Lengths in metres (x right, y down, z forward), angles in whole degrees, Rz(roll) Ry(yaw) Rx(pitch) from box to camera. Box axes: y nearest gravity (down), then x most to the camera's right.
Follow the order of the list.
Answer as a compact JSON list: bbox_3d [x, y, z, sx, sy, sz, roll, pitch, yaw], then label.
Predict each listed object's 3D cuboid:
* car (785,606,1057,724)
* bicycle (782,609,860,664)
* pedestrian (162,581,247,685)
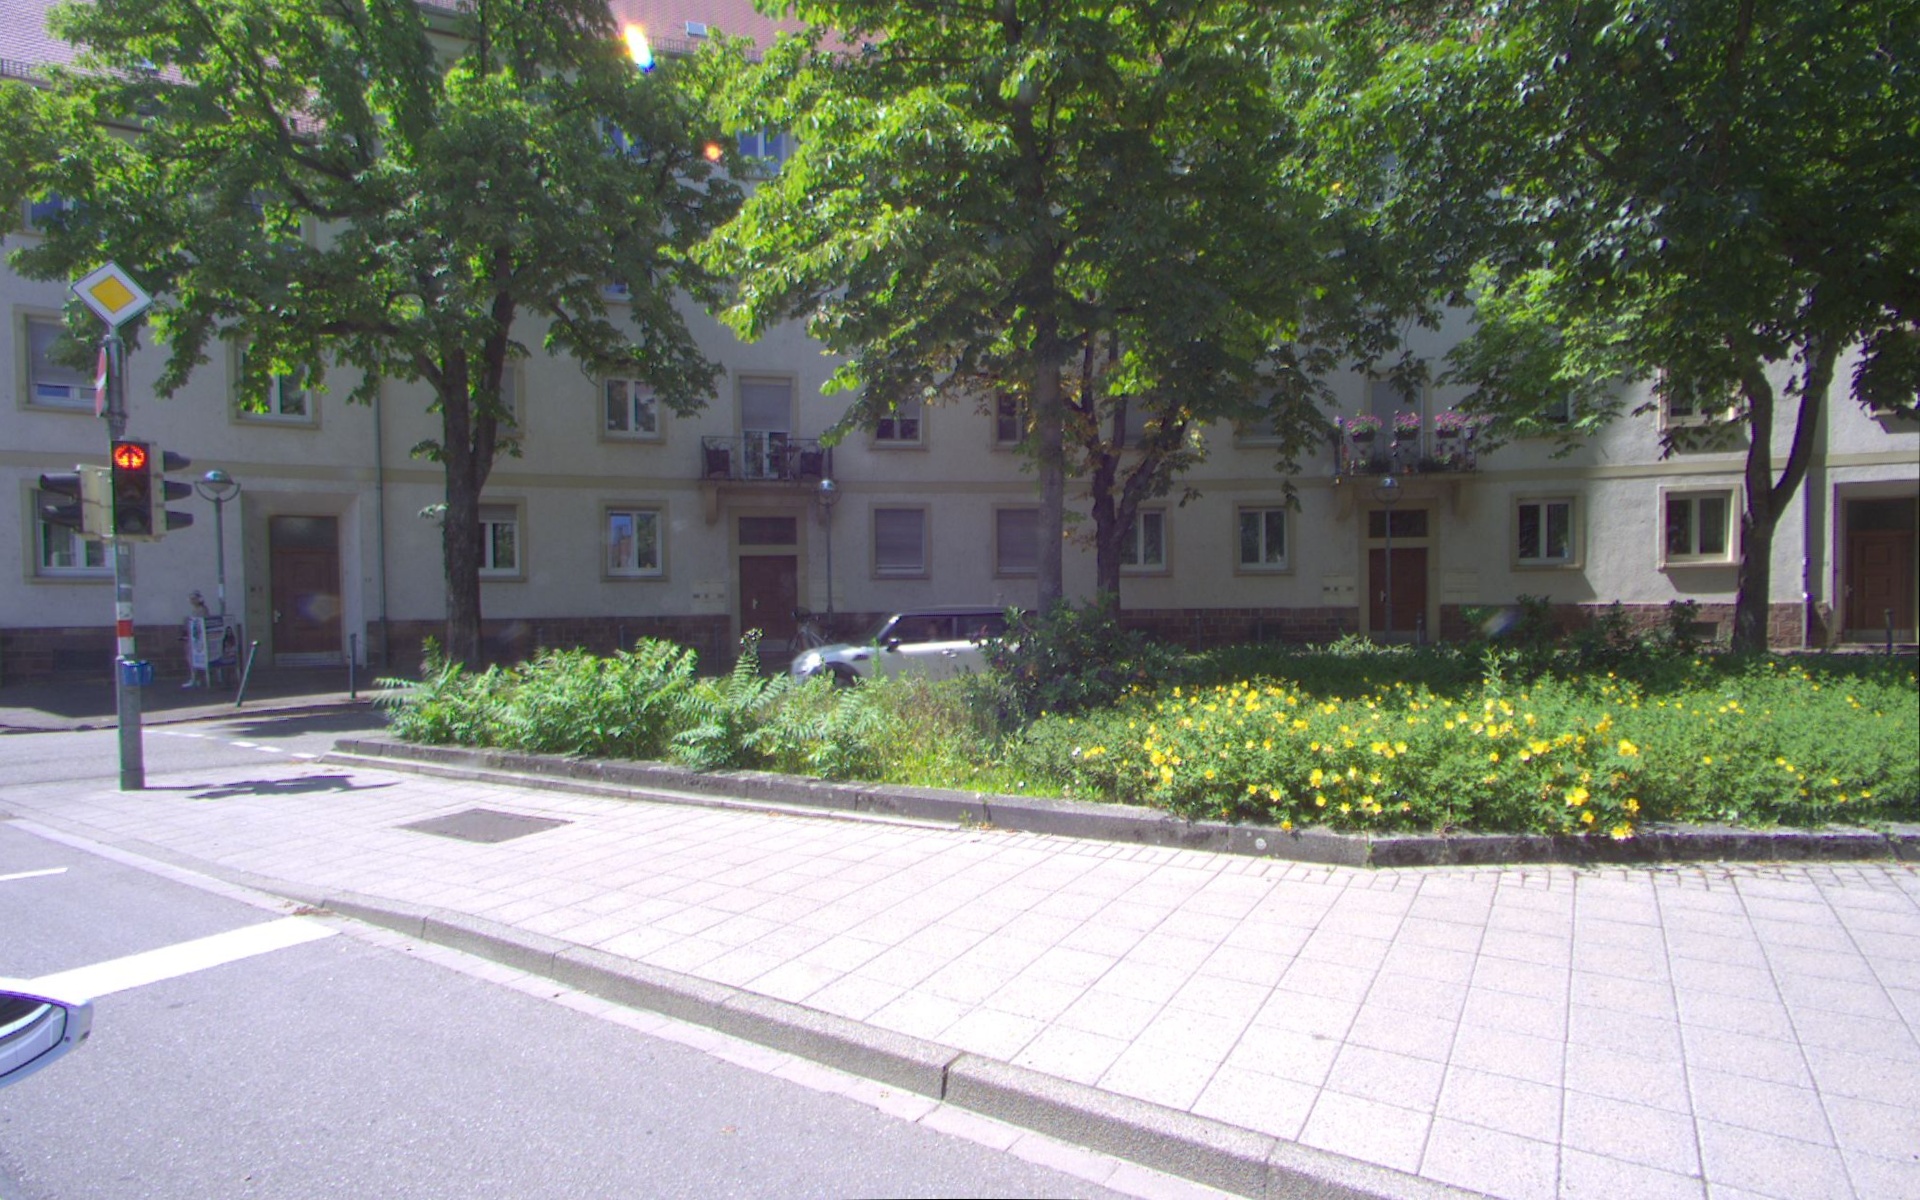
[{"bbox_3d":[-0.587,0.859,14.059,3.582,1.526,1.705,0,0,-7],"label":"car"},{"bbox_3d":[-2.883,0.755,20.874,1.575,1.119,0.525,-1,1,-4],"label":"bicycle"},{"bbox_3d":[-13.458,0.573,17.870,1.043,1.715,0.648,-5,8,-35],"label":"pedestrian"}]
